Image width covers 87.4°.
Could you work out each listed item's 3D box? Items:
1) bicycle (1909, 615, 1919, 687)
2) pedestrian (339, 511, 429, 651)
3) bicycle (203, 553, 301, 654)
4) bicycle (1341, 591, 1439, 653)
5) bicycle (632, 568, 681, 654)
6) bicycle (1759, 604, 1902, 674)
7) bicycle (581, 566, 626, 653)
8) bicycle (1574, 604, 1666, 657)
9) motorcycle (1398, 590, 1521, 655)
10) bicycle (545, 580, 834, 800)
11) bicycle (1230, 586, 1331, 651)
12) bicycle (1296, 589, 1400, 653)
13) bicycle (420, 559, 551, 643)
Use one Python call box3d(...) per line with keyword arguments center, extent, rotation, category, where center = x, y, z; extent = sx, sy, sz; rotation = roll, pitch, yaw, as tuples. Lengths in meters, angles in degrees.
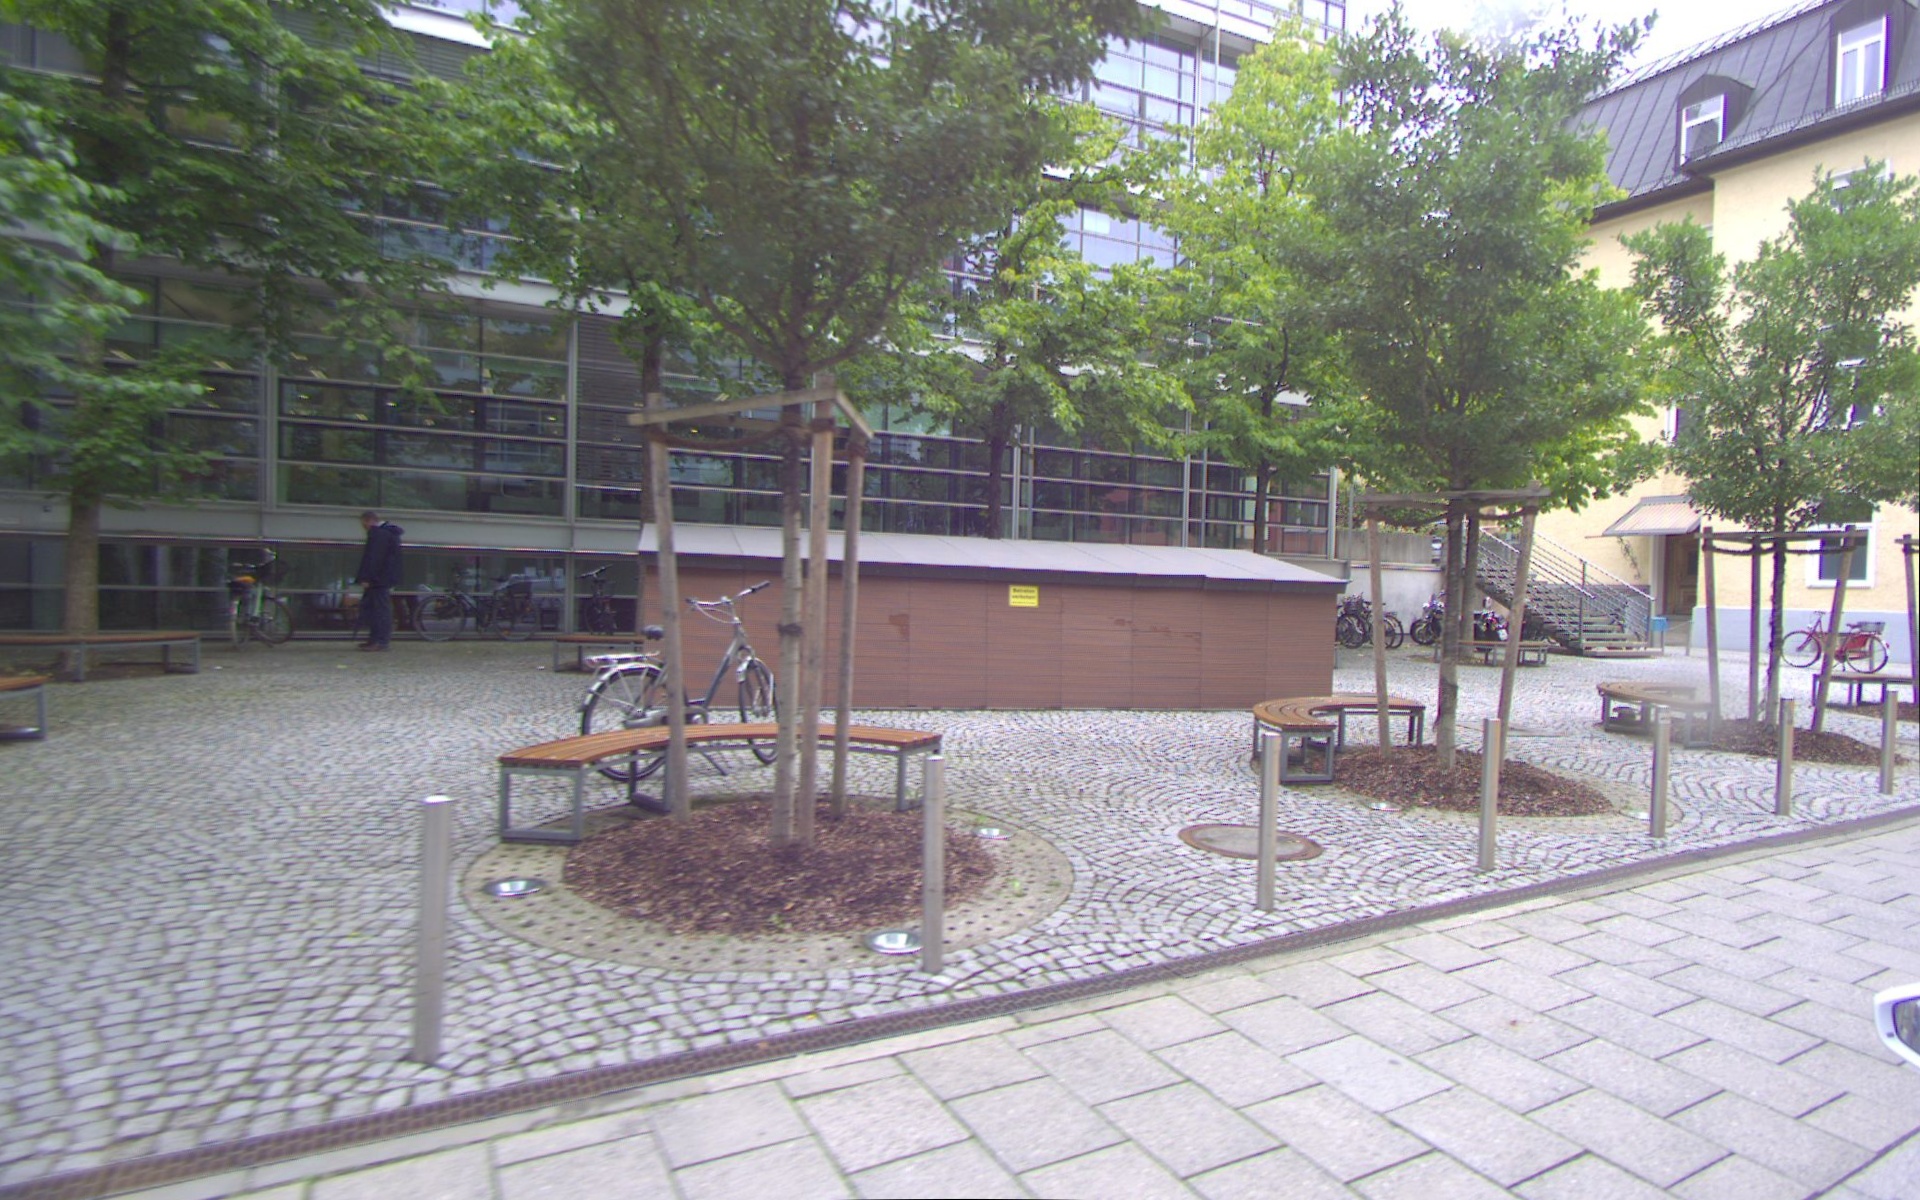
box3d(center=(16.603, 0.866, 16.585), extent=(2.022, 1.160, 0.509), rotation=(1, 2, -22), category="bicycle")
box3d(center=(-7.647, -0.247, 13.365), extent=(0.910, 1.801, 0.675), rotation=(1, 2, -20), category="pedestrian")
box3d(center=(-9.147, 0.012, 13.043), extent=(0.681, 1.214, 1.772), rotation=(1, 2, -23), category="bicycle")
box3d(center=(8.932, 0.427, 20.963), extent=(0.630, 1.160, 2.043), rotation=(1, 2, -19), category="bicycle")
box3d(center=(-4.613, 0.137, 15.195), extent=(0.544, 1.214, 1.773), rotation=(1, 2, -22), category="bicycle")
box3d(center=(17.001, 0.726, 19.692), extent=(0.562, 1.214, 2.039), rotation=(1, 2, -22), category="bicycle")
box3d(center=(-5.353, 0.114, 15.048), extent=(0.544, 1.214, 1.773), rotation=(1, 2, -22), category="bicycle")
box3d(center=(14.981, 0.669, 22.834), extent=(0.590, 1.083, 1.650), rotation=(1, 2, -25), category="bicycle")
box3d(center=(10.771, 0.453, 21.780), extent=(0.747, 1.261, 2.495), rotation=(1, 2, -21), category="motorcycle")
box3d(center=(-1.676, 0.500, 6.505), extent=(0.543, 1.214, 1.830), rotation=(3, 2, 38), category="bicycle")
box3d(center=(6.353, 0.352, 20.045), extent=(0.833, 1.160, 2.043), rotation=(1, 2, -19), category="bicycle")
box3d(center=(7.874, 0.397, 20.510), extent=(0.833, 1.160, 2.043), rotation=(1, 2, -19), category="bicycle")
box3d(center=(-7.142, 0.017, 15.193), extent=(1.757, 1.214, 0.548), rotation=(1, 2, -24), category="bicycle")
